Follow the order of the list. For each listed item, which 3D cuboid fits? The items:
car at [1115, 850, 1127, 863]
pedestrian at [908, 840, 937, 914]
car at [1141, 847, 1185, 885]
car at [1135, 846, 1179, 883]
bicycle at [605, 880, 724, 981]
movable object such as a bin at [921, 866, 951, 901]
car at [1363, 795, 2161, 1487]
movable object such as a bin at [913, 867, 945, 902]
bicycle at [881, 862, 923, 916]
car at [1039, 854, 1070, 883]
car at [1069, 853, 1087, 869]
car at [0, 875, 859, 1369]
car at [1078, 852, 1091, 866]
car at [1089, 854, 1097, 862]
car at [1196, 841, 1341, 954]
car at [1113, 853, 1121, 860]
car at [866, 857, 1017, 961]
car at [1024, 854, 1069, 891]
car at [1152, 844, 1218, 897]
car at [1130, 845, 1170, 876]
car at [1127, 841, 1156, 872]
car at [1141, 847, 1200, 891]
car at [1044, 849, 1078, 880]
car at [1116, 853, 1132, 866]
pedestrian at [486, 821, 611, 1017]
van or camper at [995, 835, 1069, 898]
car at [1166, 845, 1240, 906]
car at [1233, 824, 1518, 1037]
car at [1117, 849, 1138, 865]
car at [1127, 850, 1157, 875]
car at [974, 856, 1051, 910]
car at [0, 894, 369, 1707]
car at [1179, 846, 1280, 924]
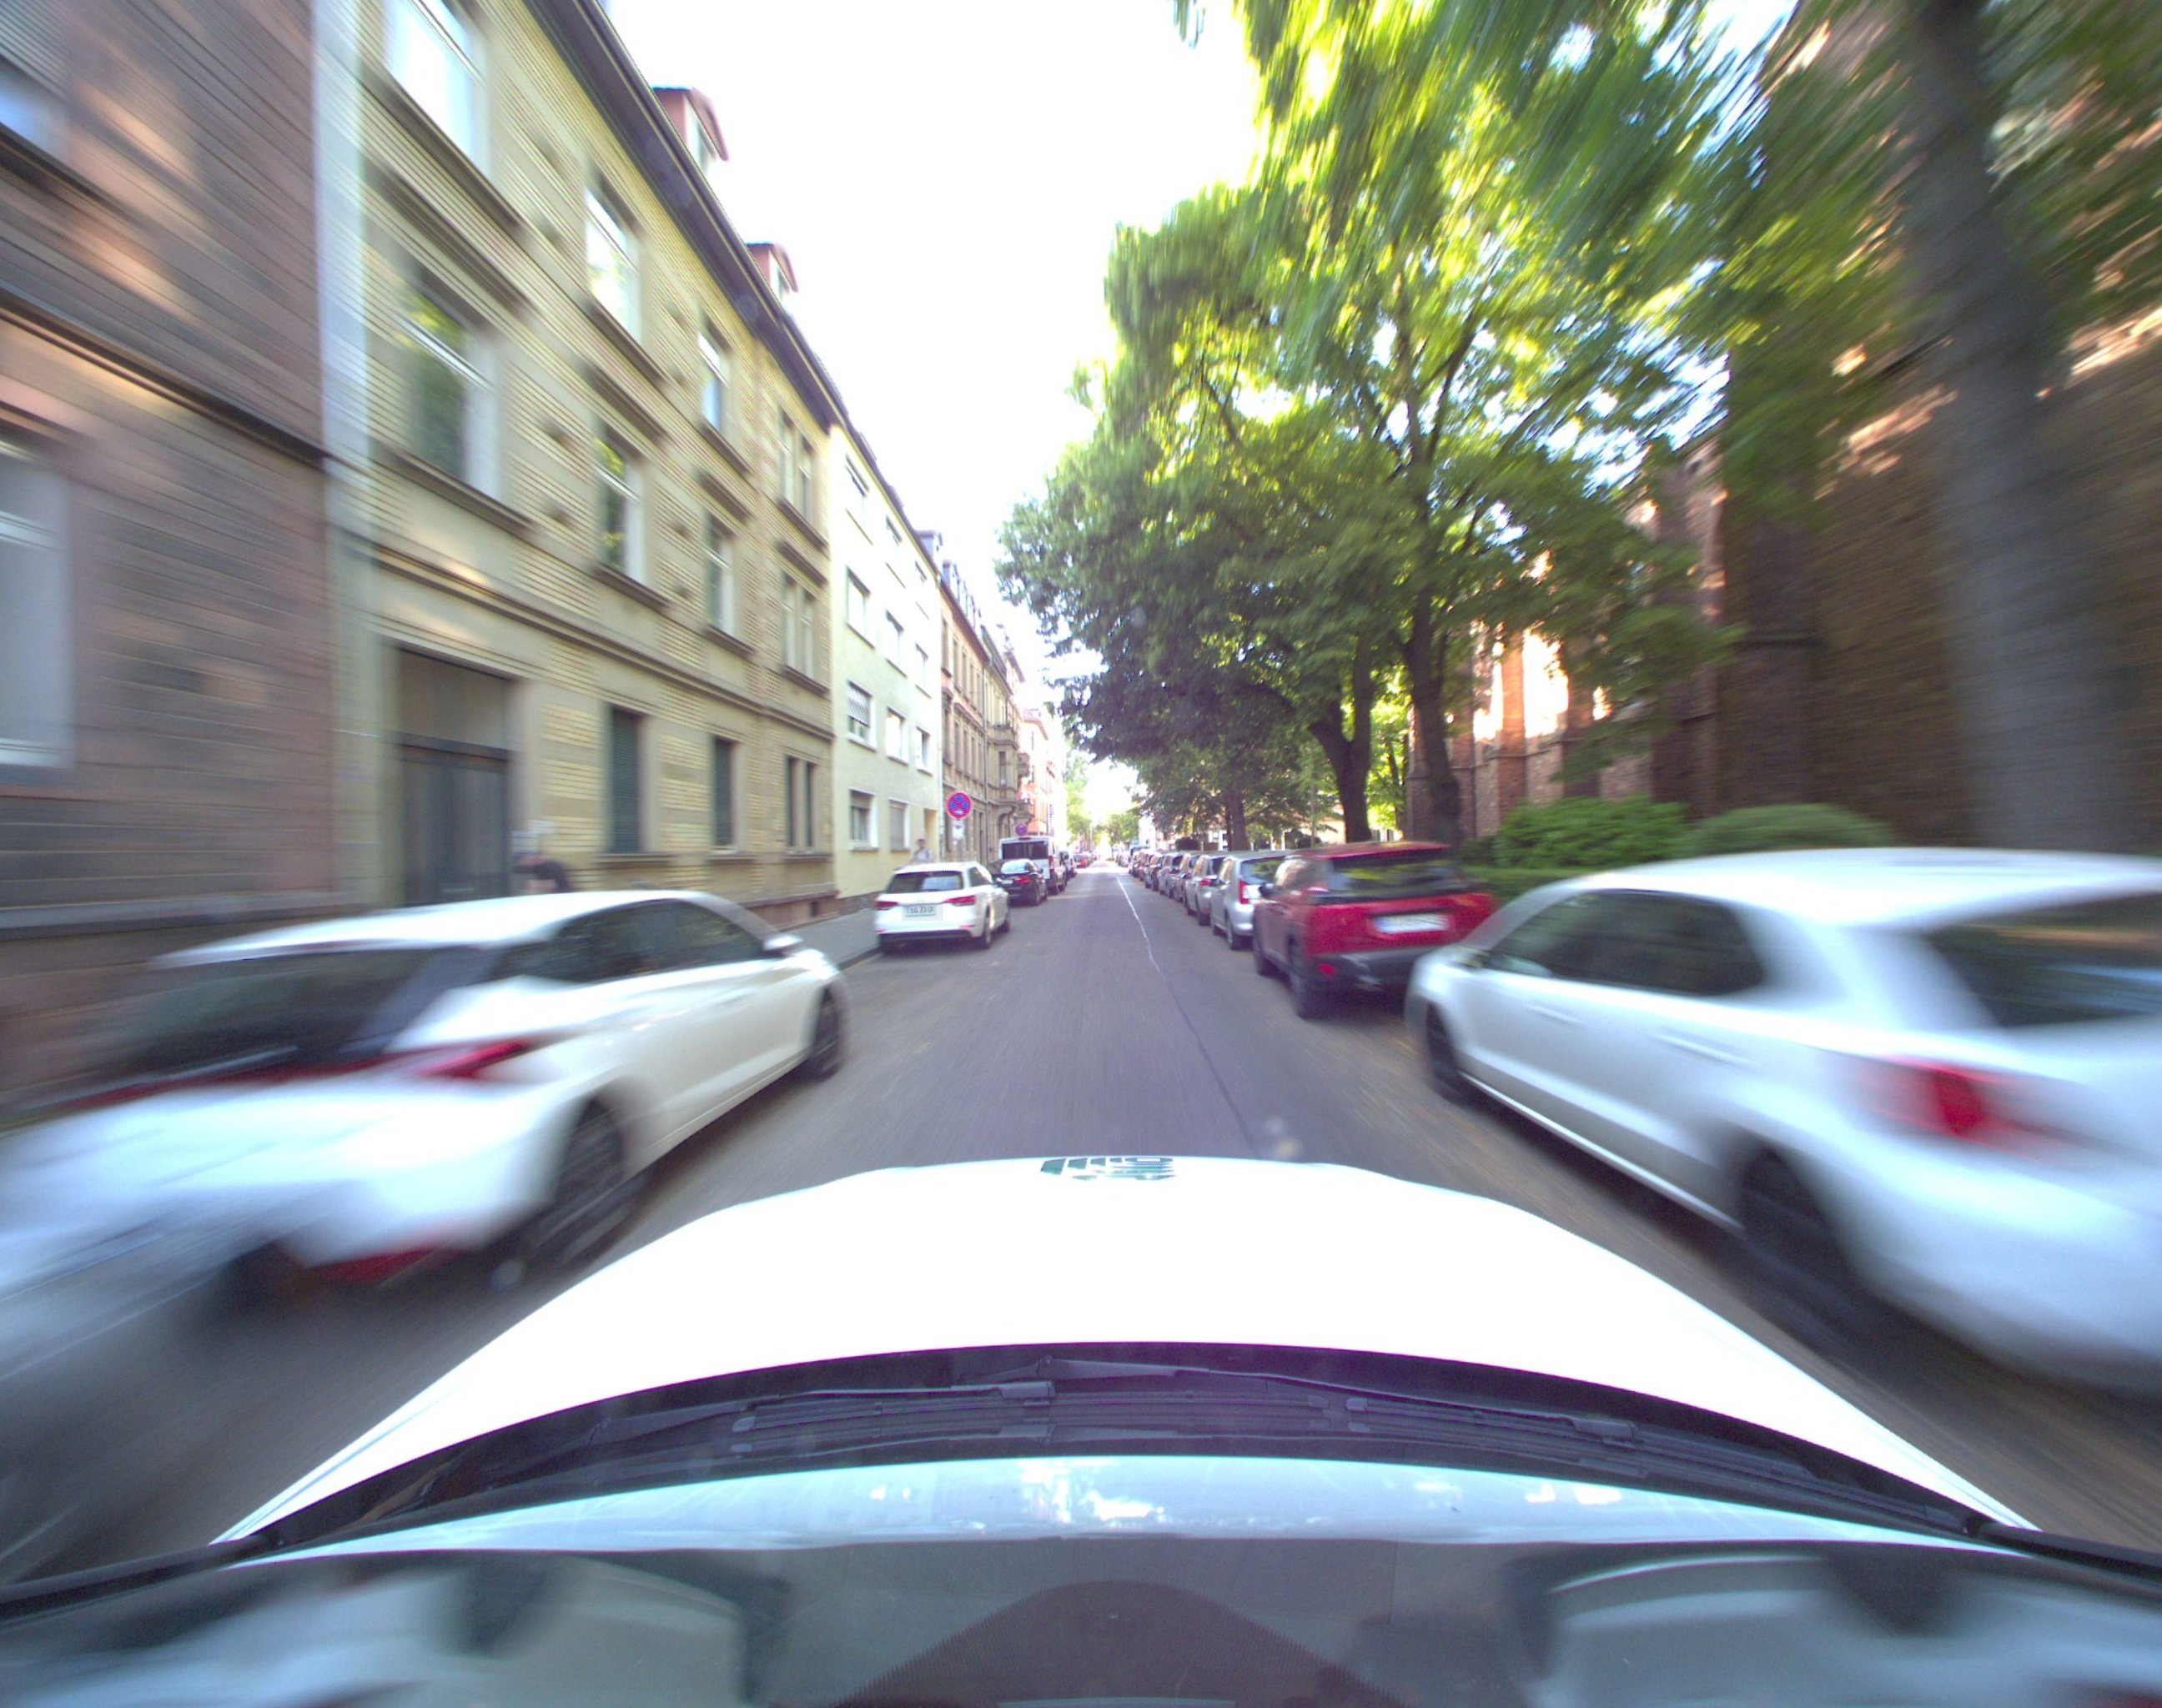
[{"bbox_3d":[5.813,0.407,118.389,1.669,1.681,4.097,-4,-1,3],"label":"car"},{"bbox_3d":[-3.973,0.571,20.463,0.486,1.803,1.115,1,0,0],"label":"pedestrian"},{"bbox_3d":[3.729,0.540,37.670,1.613,1.486,3.777,-6,-1,1],"label":"car"},{"bbox_3d":[3.843,0.547,41.954,1.615,1.624,3.860,-6,-1,-2],"label":"car"},{"bbox_3d":[-5.421,0.948,10.734,0.568,1.148,1.845,1,0,1],"label":"bicycle"},{"bbox_3d":[-4.748,0.957,26.661,0.796,1.088,0.667,-2,-1,5],"label":"movable object such as a bin"},{"bbox_3d":[2.944,0.660,3.912,1.659,1.520,3.951,-6,-1,0],"label":"car"},{"bbox_3d":[-4.817,0.955,25.837,0.832,1.088,0.676,-2,-1,4],"label":"movable object such as a bin"},{"bbox_3d":[-4.475,0.847,20.467,0.568,1.244,1.845,1,0,1],"label":"bicycle"},{"bbox_3d":[-1.527,0.815,47.849,1.688,1.514,3.971,-4,0,-1],"label":"car"},{"bbox_3d":[-0.260,0.715,81.881,1.622,1.481,3.602,-4,0,1],"label":"car"},{"bbox_3d":[-2.716,0.911,4.501,1.702,1.417,3.805,-4,-1,3],"label":"car"},{"bbox_3d":[0.529,0.714,116.162,1.759,1.785,4.040,-4,0,1],"label":"car"},{"bbox_3d":[2.523,0.811,175.794,1.670,1.487,4.095,-4,0,1],"label":"car"},{"bbox_3d":[3.038,0.655,13.920,1.593,1.505,3.722,-6,-1,2],"label":"car"},{"bbox_3d":[7.576,0.499,171.700,1.670,1.487,3.638,-4,0,1],"label":"car"},{"bbox_3d":[-2.306,0.848,14.651,1.724,1.456,4.523,-4,0,2],"label":"car"},{"bbox_3d":[-1.546,0.823,38.111,1.760,1.514,4.194,-4,0,1],"label":"car"},{"bbox_3d":[3.476,0.552,27.783,1.594,1.505,3.627,-6,-1,-1],"label":"car"},{"bbox_3d":[4.076,0.401,48.789,1.735,1.603,4.260,-6,-1,-2],"label":"car"},{"bbox_3d":[4.357,0.158,58.999,1.906,1.998,4.796,-4,0,4],"label":"car"},{"bbox_3d":[3.448,0.579,32.254,1.670,1.441,4.694,-6,-1,0],"label":"car"},{"bbox_3d":[-1.259,0.618,52.749,1.824,1.811,4.573,-4,0,1],"label":"car"},{"bbox_3d":[5.066,0.629,96.533,1.670,1.506,3.938,-4,0,1],"label":"car"},{"bbox_3d":[-5.514,0.644,8.475,0.764,1.928,0.763,-1,0,-2],"label":"pedestrian"},{"bbox_3d":[-1.817,0.433,31.810,2.168,2.147,5.158,-4,0,3],"label":"van or camper"},{"bbox_3d":[3.440,0.591,23.535,1.593,1.468,3.565,-6,-1,2],"label":"car"},{"bbox_3d":[2.806,0.645,8.774,1.657,1.586,4.104,-6,-1,3],"label":"car"},{"bbox_3d":[4.629,0.295,81.230,1.739,1.506,4.355,-4,0,-1],"label":"car"},{"bbox_3d":[3.998,0.527,53.870,1.713,1.571,3.828,-2,0,0],"label":"car"},{"bbox_3d":[-2.046,0.841,25.441,1.723,1.402,4.319,-4,0,3],"label":"car"},{"bbox_3d":[-2.867,0.856,0.288,1.702,1.417,3.805,-4,-1,3],"label":"car"},{"bbox_3d":[3.205,0.637,18.224,1.593,1.470,3.871,-4,-1,2],"label":"car"}]
